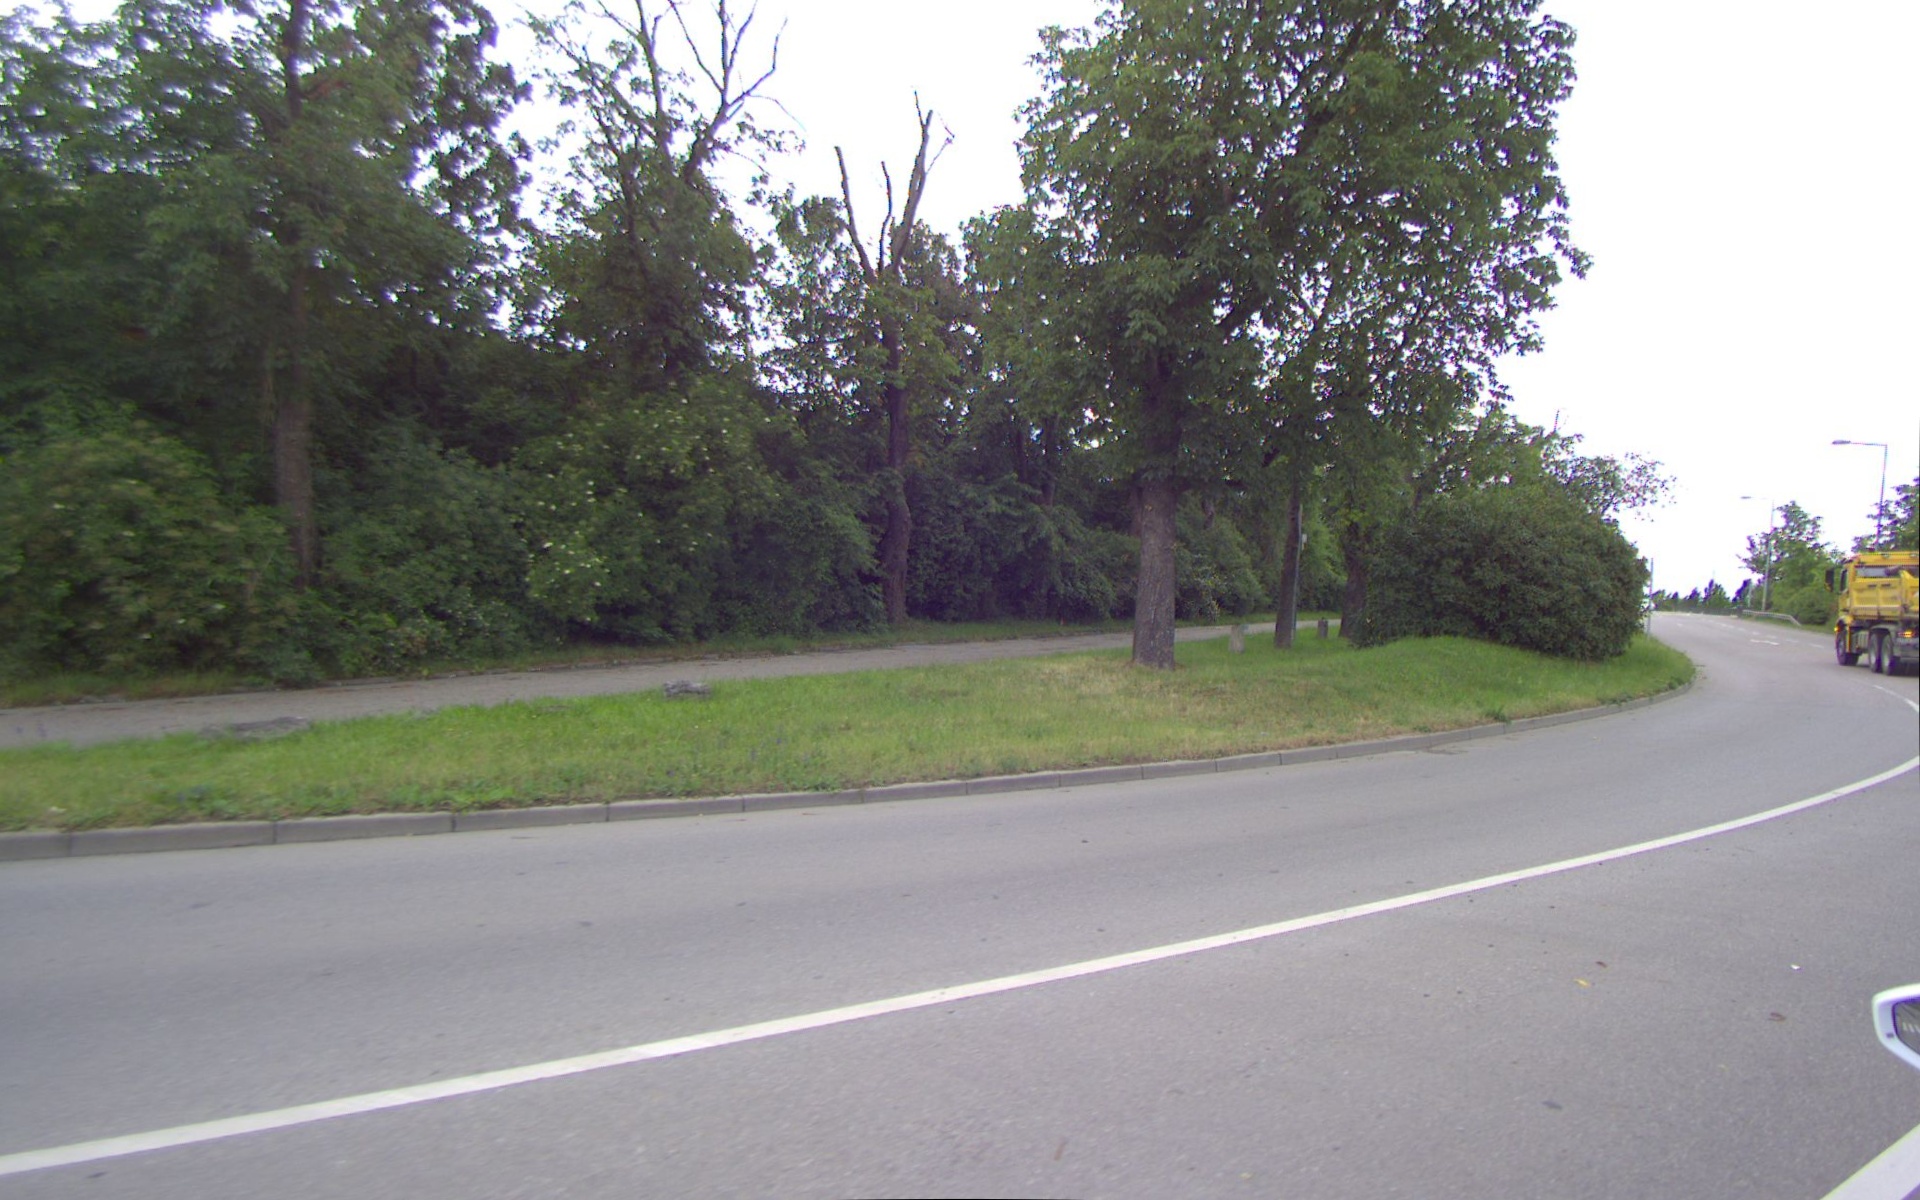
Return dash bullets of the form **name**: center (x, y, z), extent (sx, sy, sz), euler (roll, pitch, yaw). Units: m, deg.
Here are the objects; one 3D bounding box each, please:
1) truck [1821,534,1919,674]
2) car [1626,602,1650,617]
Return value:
- **truck**: center (26.890, 0.100, 28.222), extent (2.725, 3.530, 8.110), euler (1, 1, 31)
- **car**: center (82.447, 1.184, 122.103), extent (1.970, 1.662, 3.980), euler (4, 2, 41)
